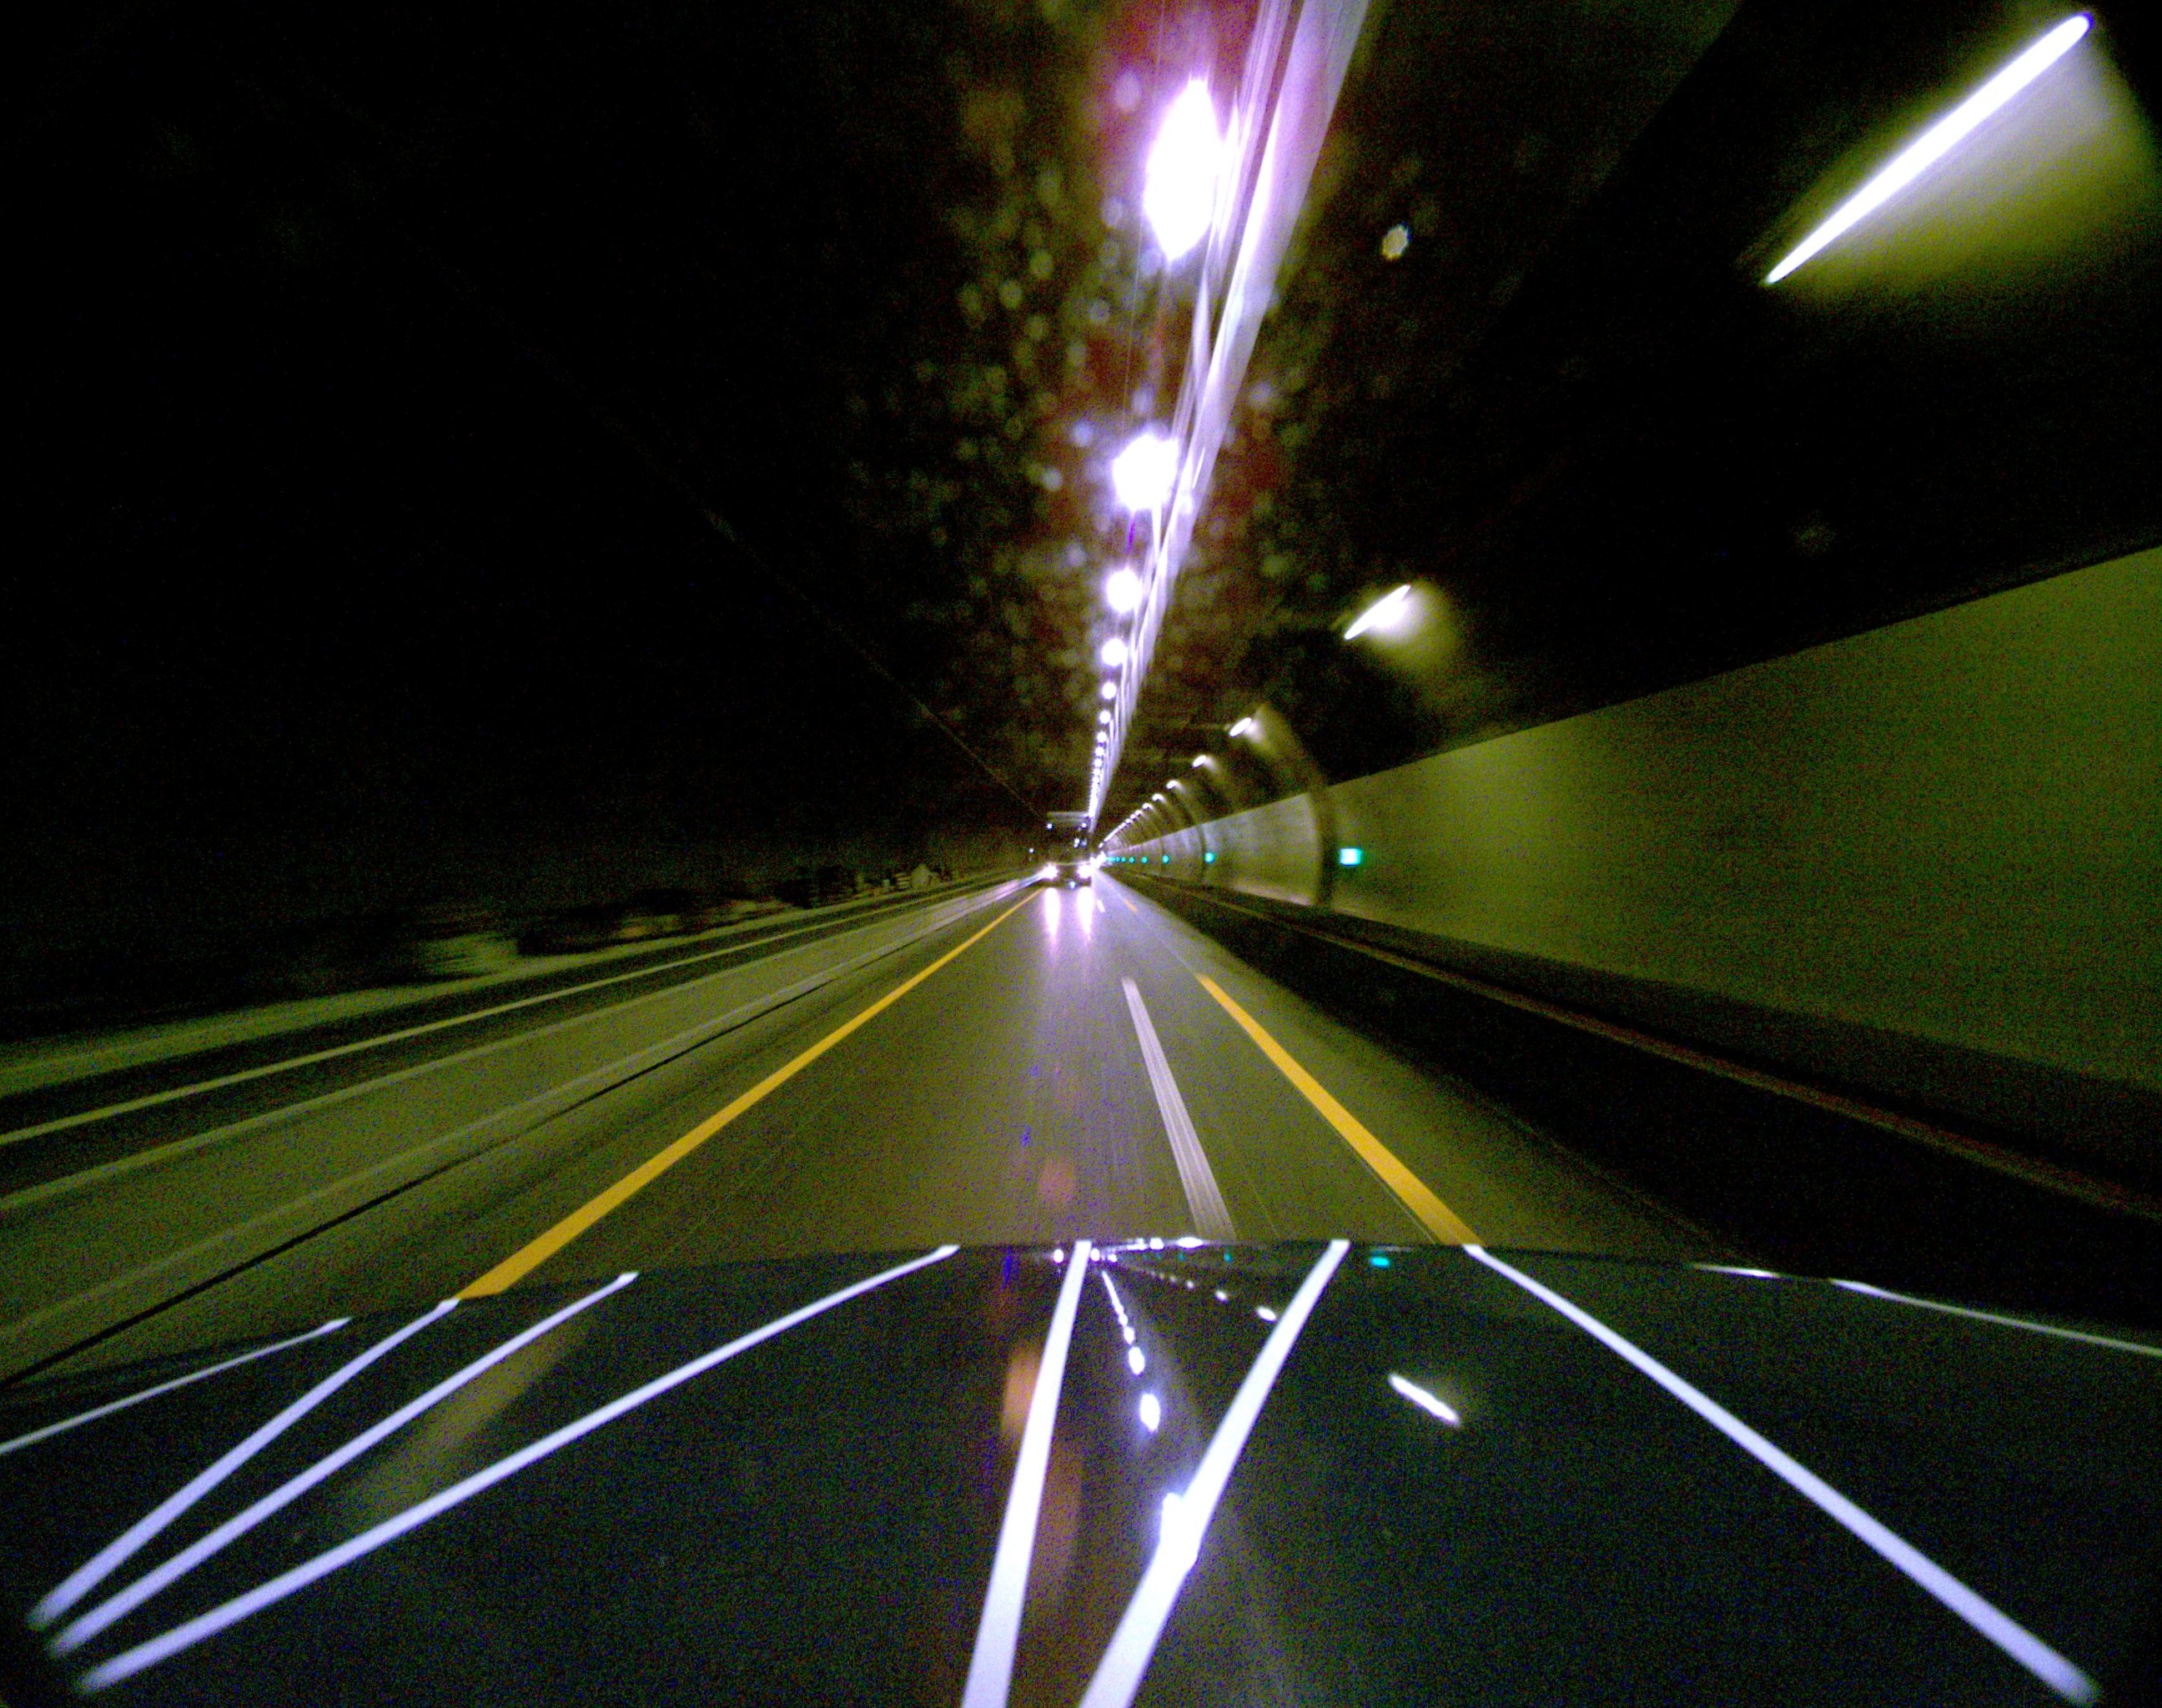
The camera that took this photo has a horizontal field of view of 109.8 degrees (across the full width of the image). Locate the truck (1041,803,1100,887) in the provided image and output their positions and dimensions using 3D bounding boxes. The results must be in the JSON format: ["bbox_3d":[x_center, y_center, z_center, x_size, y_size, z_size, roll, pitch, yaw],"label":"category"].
[{"bbox_3d":[-0.522,-0.518,43.882,2.950,4.338,6.675,-3,1,1],"label":"truck"}]

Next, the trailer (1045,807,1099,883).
[{"bbox_3d":[-0.441,-0.596,49.339,2.939,4.316,10.051,-3,1,1],"label":"trailer"}]
